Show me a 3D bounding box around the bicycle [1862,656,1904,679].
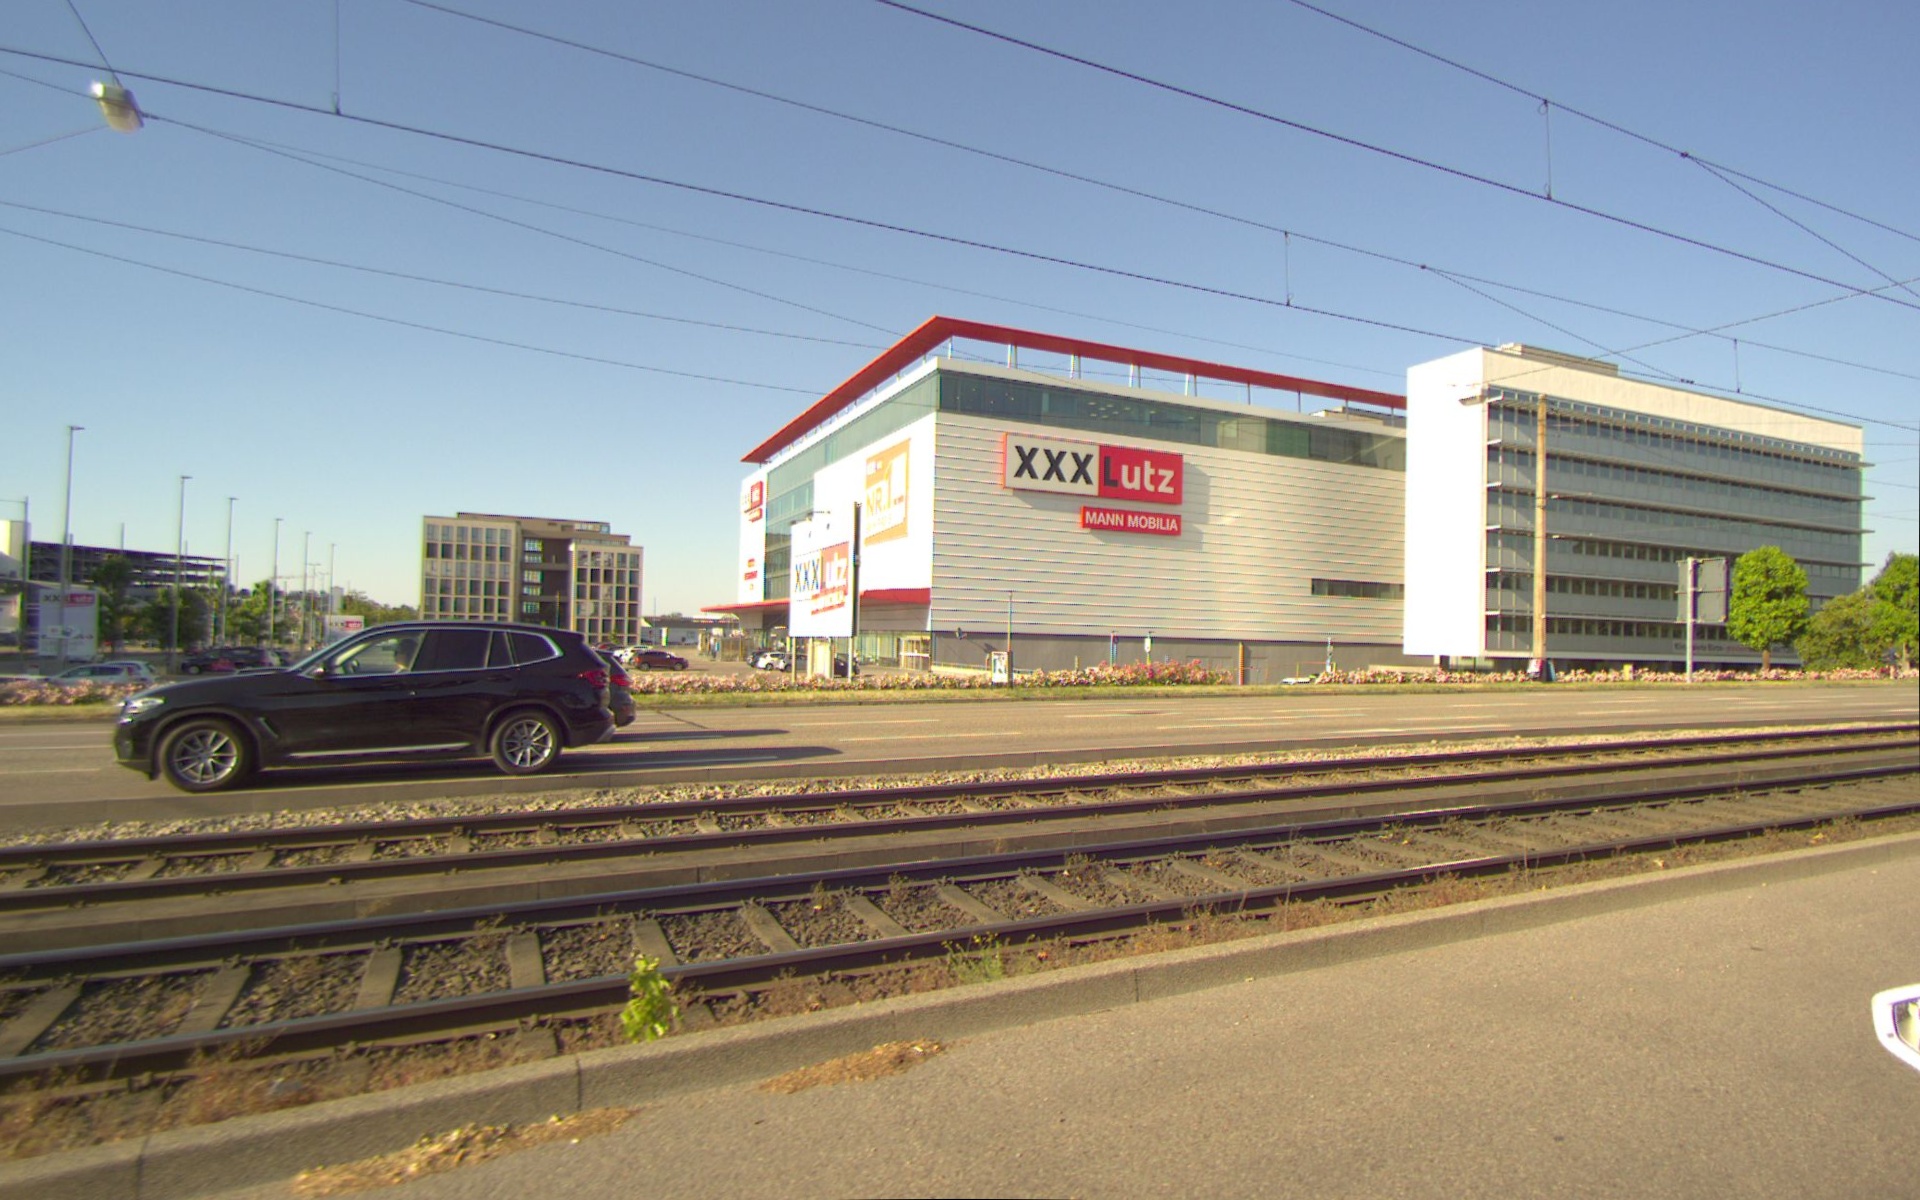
[{"bbox_3d":[46.398,3.386,50.475,1.996,1.088,0.704,2,1,-20],"label":"bicycle"}]

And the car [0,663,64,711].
[{"bbox_3d":[-39.308,3.519,40.530,4.367,1.733,1.983,2,1,-31],"label":"car"}]

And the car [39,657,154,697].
[{"bbox_3d":[-42.510,3.749,49.561,3.953,1.768,1.920,2,1,-30],"label":"car"}]

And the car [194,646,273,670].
[{"bbox_3d":[-51.991,4.159,71.961,4.389,1.573,1.658,2,1,-31],"label":"car"}]

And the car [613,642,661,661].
[{"bbox_3d":[-29.968,4.795,93.209,3.953,1.640,1.864,2,1,-30],"label":"car"}]

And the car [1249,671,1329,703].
[{"bbox_3d":[12.741,3.340,38.927,2.798,1.087,1.322,2,1,-25],"label":"car"}]

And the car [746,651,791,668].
[{"bbox_3d":[-17.136,5.315,89.859,3.616,1.387,1.649,2,1,-25],"label":"car"}]

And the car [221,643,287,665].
[{"bbox_3d":[-55.279,4.212,78.724,3.947,1.677,1.790,2,-2,-26],"label":"car"}]

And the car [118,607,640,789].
[{"bbox_3d":[-6.096,0.996,11.176,4.597,1.677,1.987,2,-3,-26],"label":"car"}]

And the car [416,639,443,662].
[{"bbox_3d":[-48.806,4.611,92.460,1.801,1.824,4.205,2,1,-23],"label":"car"}]

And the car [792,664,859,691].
[{"bbox_3d":[-9.662,5.573,72.148,4.392,1.725,1.913,2,1,-28],"label":"car"}]

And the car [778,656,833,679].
[{"bbox_3d":[-12.461,5.399,80.828,3.949,1.725,1.913,2,1,-28],"label":"car"}]

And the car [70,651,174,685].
[{"bbox_3d":[-44.953,3.624,53.980,3.953,1.614,1.920,2,1,-30],"label":"car"}]

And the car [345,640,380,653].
[{"bbox_3d":[-84.749,6.608,142.533,3.947,1.805,1.987,2,1,-26],"label":"car"}]

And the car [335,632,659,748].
[{"bbox_3d":[-6.731,1.245,14.840,4.087,1.480,1.849,2,-2,-29],"label":"car"}]

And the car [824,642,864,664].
[{"bbox_3d":[-10.578,4.863,91.396,3.244,1.880,1.501,2,1,-25],"label":"car"}]

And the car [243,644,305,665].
[{"bbox_3d":[-56.970,4.492,83.548,3.947,1.677,1.987,2,-2,-26],"label":"car"}]

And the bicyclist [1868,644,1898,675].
[{"bbox_3d":[46.345,2.983,50.454,0.955,1.532,0.704,2,1,-20],"label":"bicyclist"}]

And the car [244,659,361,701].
[{"bbox_3d":[-29.204,3.534,44.763,3.939,1.746,1.862,1,-2,-20],"label":"car"}]
